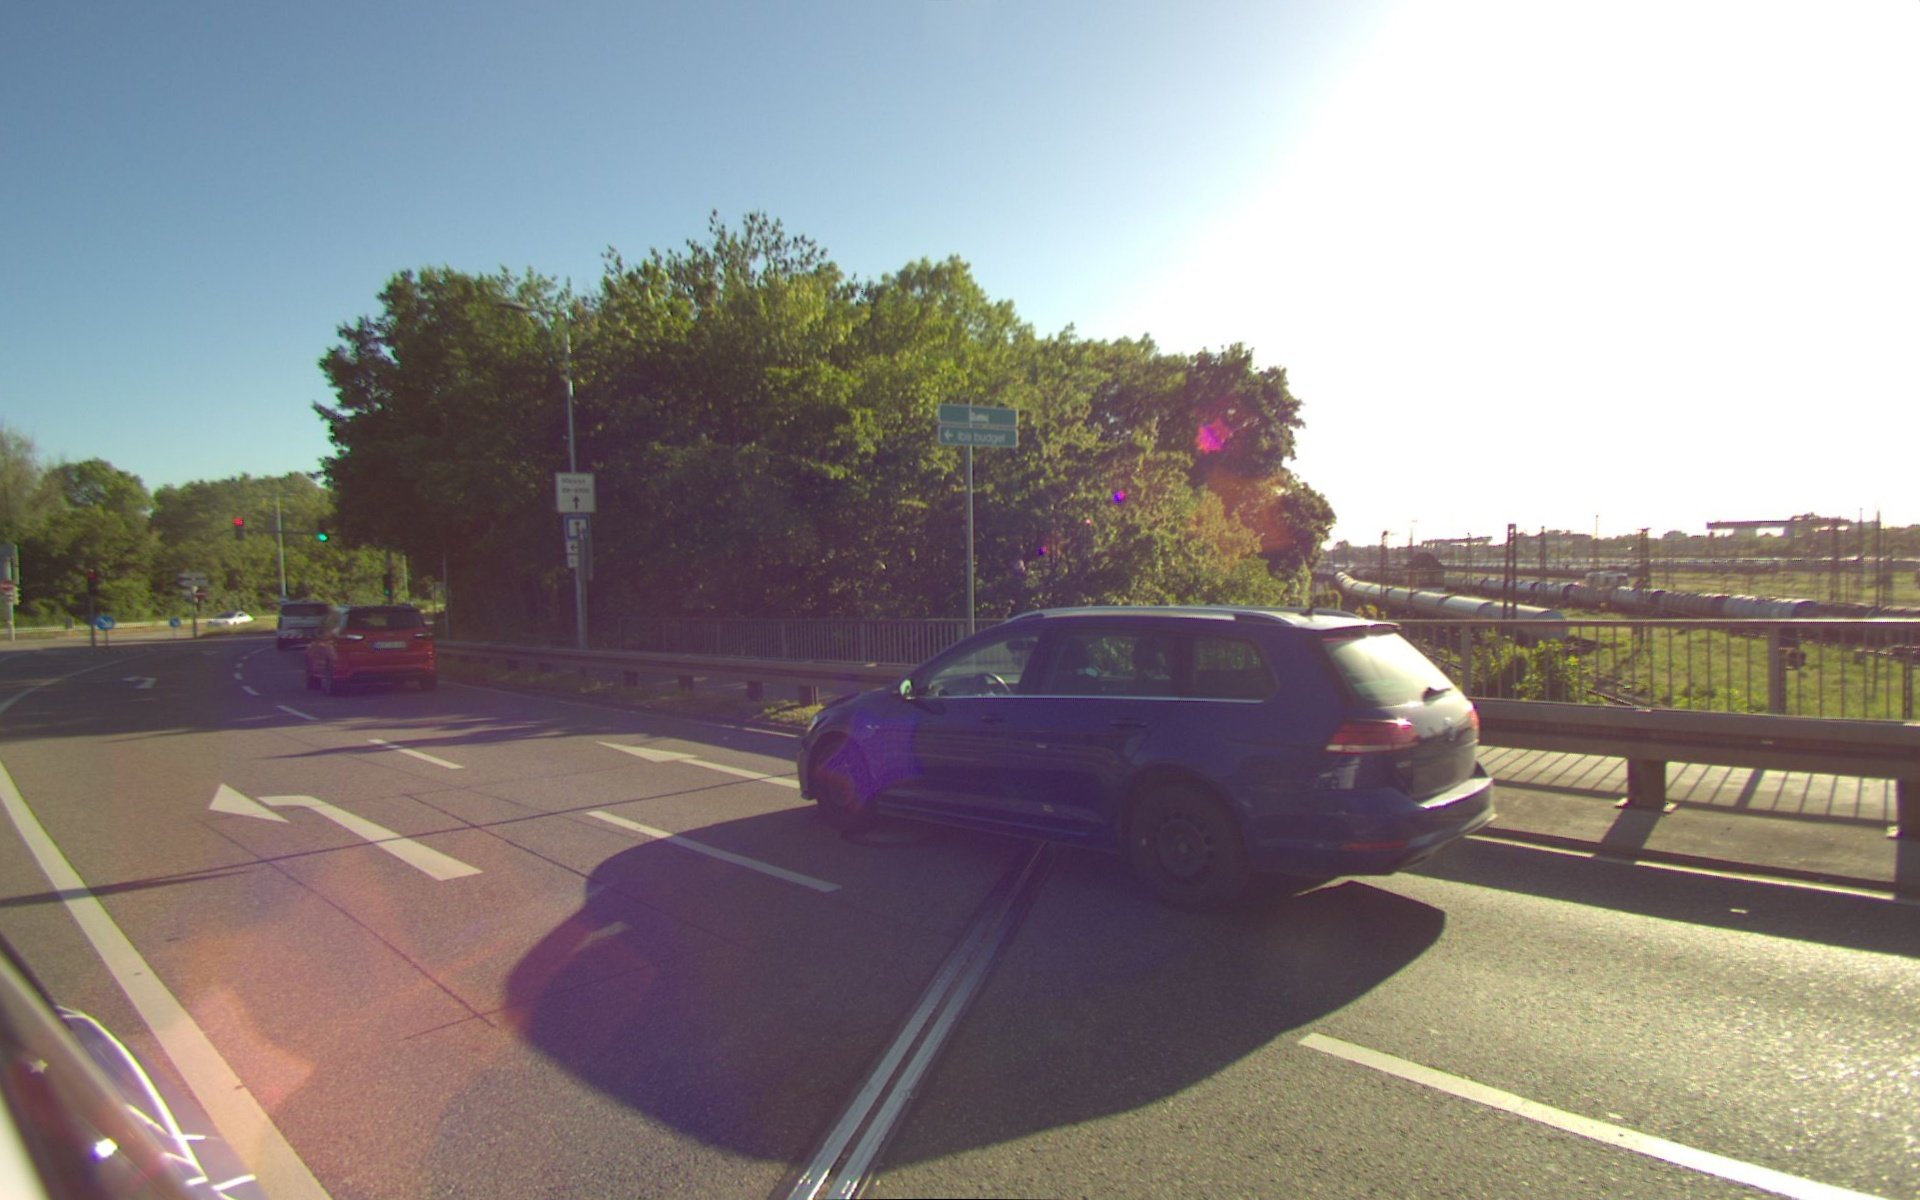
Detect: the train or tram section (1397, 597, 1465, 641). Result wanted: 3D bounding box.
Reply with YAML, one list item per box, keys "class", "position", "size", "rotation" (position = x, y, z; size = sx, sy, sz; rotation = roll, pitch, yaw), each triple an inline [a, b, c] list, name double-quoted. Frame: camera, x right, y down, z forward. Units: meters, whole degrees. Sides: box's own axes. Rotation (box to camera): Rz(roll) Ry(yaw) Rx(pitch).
- class: "train or tram section"
  position: [60.067, 2.246, 129.747]
  size: [4.008, 5.124, 17.797]
  rotation: [-1, 0, 12]

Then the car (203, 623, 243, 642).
- class: "car"
  position: [-60.555, 2.645, 83.185]
  size: [1.960, 1.484, 4.143]
  rotation: [-1, 0, -27]

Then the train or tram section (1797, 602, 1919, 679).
- class: "train or tram section"
  position: [80.276, 3.249, 88.296]
  size: [3.867, 6.054, 16.887]
  rotation: [-1, 0, 13]

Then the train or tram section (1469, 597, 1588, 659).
- class: "train or tram section"
  position: [52.177, 2.315, 93.871]
  size: [4.008, 5.124, 19.276]
  rotation: [-1, 0, 12]

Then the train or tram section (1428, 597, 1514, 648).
- class: "train or tram section"
  position: [56.212, 2.279, 112.158]
  size: [4.008, 5.124, 18.116]
  rotation: [-1, 0, 12]

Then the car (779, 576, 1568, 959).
- class: "car"
  position: [0.939, 0.689, 6.104]
  size: [4.407, 1.497, 1.705]
  rotation: [-1, -1, 43]

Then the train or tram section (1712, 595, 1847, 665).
- class: "train or tram section"
  position: [84.103, 2.871, 104.543]
  size: [3.867, 6.661, 16.434]
  rotation: [-1, 0, 13]

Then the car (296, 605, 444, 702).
- class: "car"
  position: [-11.427, 0.955, 19.480]
  size: [1.782, 1.650, 4.006]
  rotation: [0, -1, -41]

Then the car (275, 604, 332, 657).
- class: "car"
  position: [-28.066, 1.257, 43.193]
  size: [1.922, 2.128, 5.284]
  rotation: [1, -1, -34]
